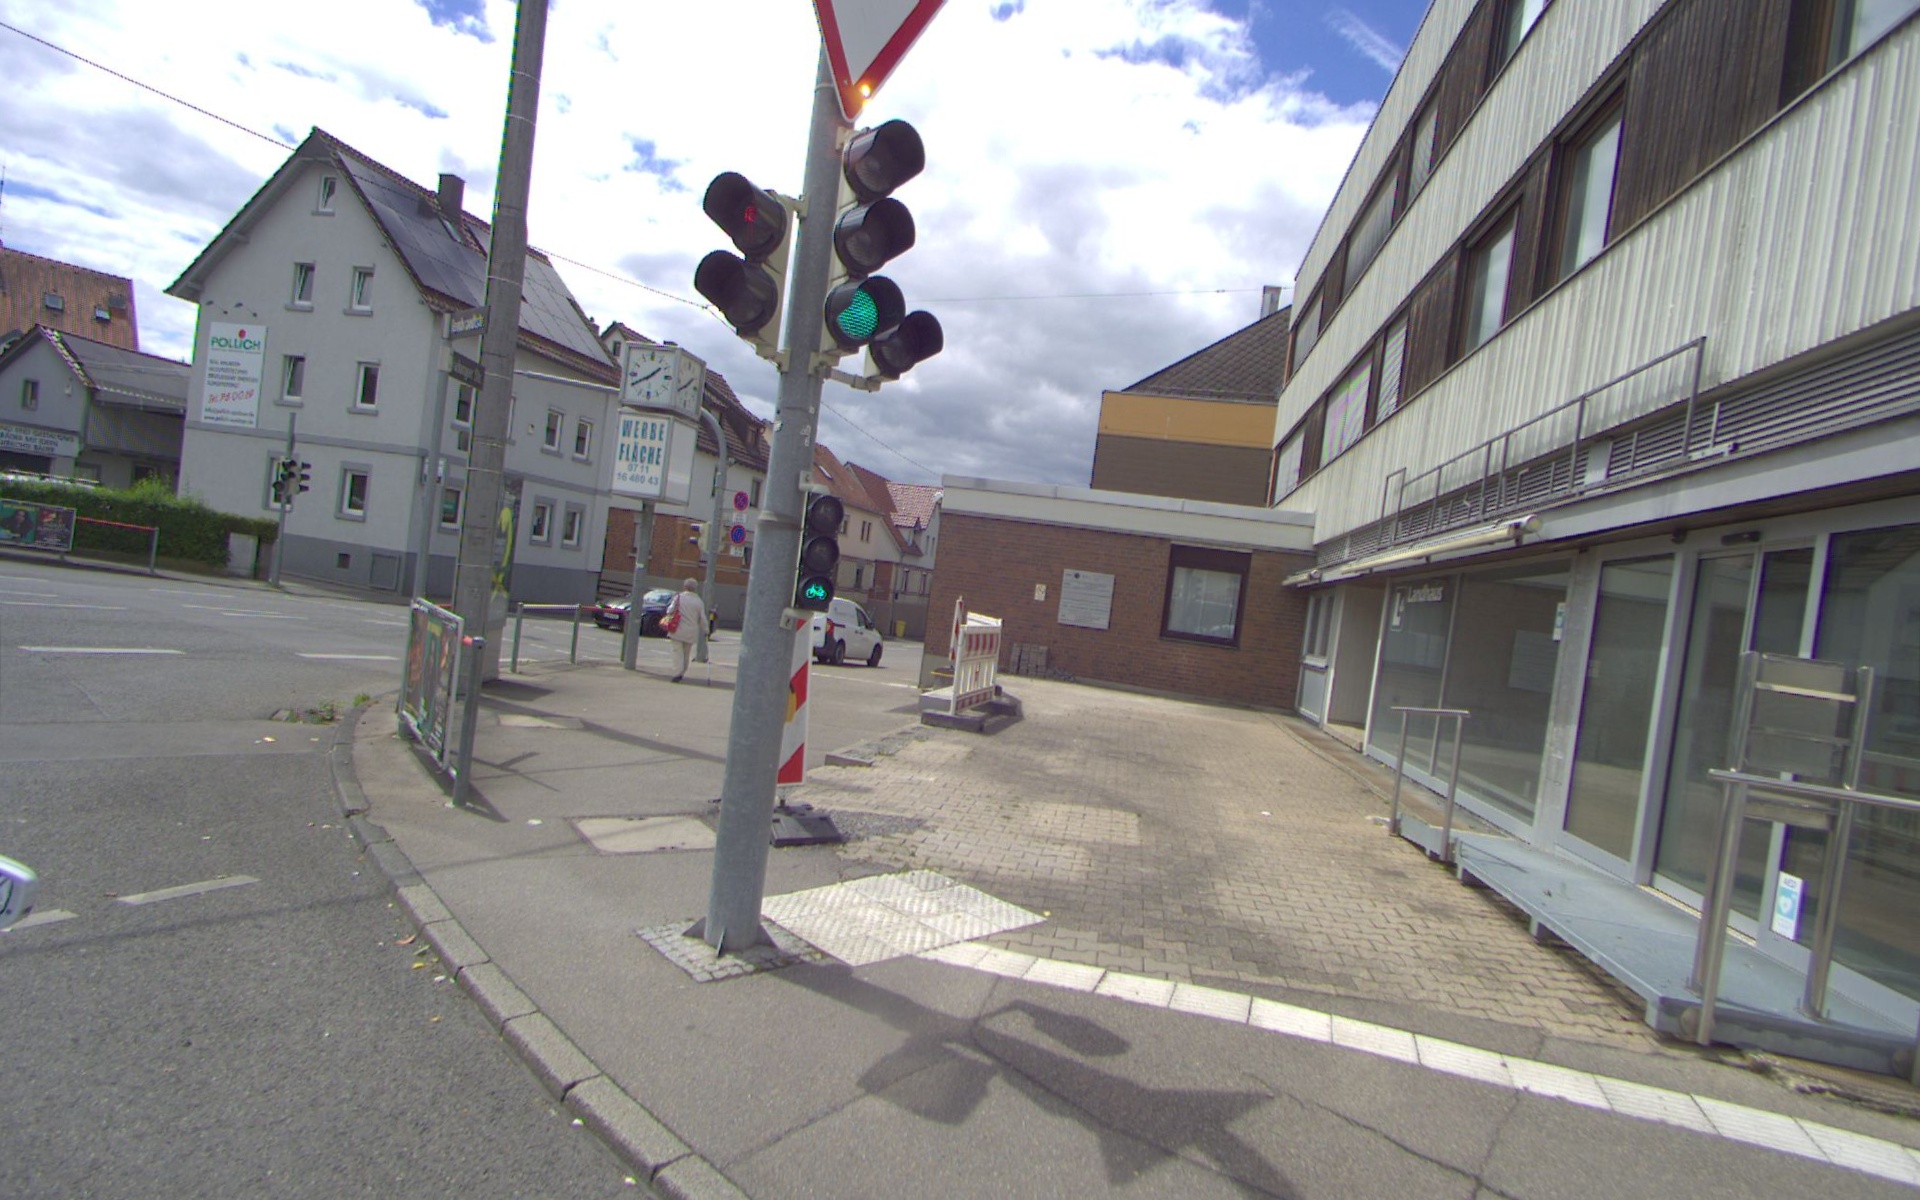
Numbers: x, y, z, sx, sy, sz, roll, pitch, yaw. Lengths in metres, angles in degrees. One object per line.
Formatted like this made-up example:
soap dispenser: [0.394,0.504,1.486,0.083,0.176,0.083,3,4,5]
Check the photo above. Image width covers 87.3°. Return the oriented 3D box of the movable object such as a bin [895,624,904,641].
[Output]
movable object such as a bin: [-4.323,2.320,71.636,0.424,1.141,0.299,7,0,14]

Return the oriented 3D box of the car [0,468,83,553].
car: [-26.066,-2.558,26.405,1.962,2.037,4.003,7,-1,17]

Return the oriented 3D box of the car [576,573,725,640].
car: [-9.123,0.271,30.101,1.962,1.474,4.621,10,-1,15]

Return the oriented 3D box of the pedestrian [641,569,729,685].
pedestrian: [-4.198,0.419,15.362,0.862,1.657,0.832,5,-1,42]

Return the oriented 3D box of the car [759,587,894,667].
car: [-3.565,0.812,27.908,1.881,1.815,4.493,7,-1,16]

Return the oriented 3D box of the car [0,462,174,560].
car: [-23.609,-2.336,26.525,1.962,1.971,4.003,7,-1,16]
